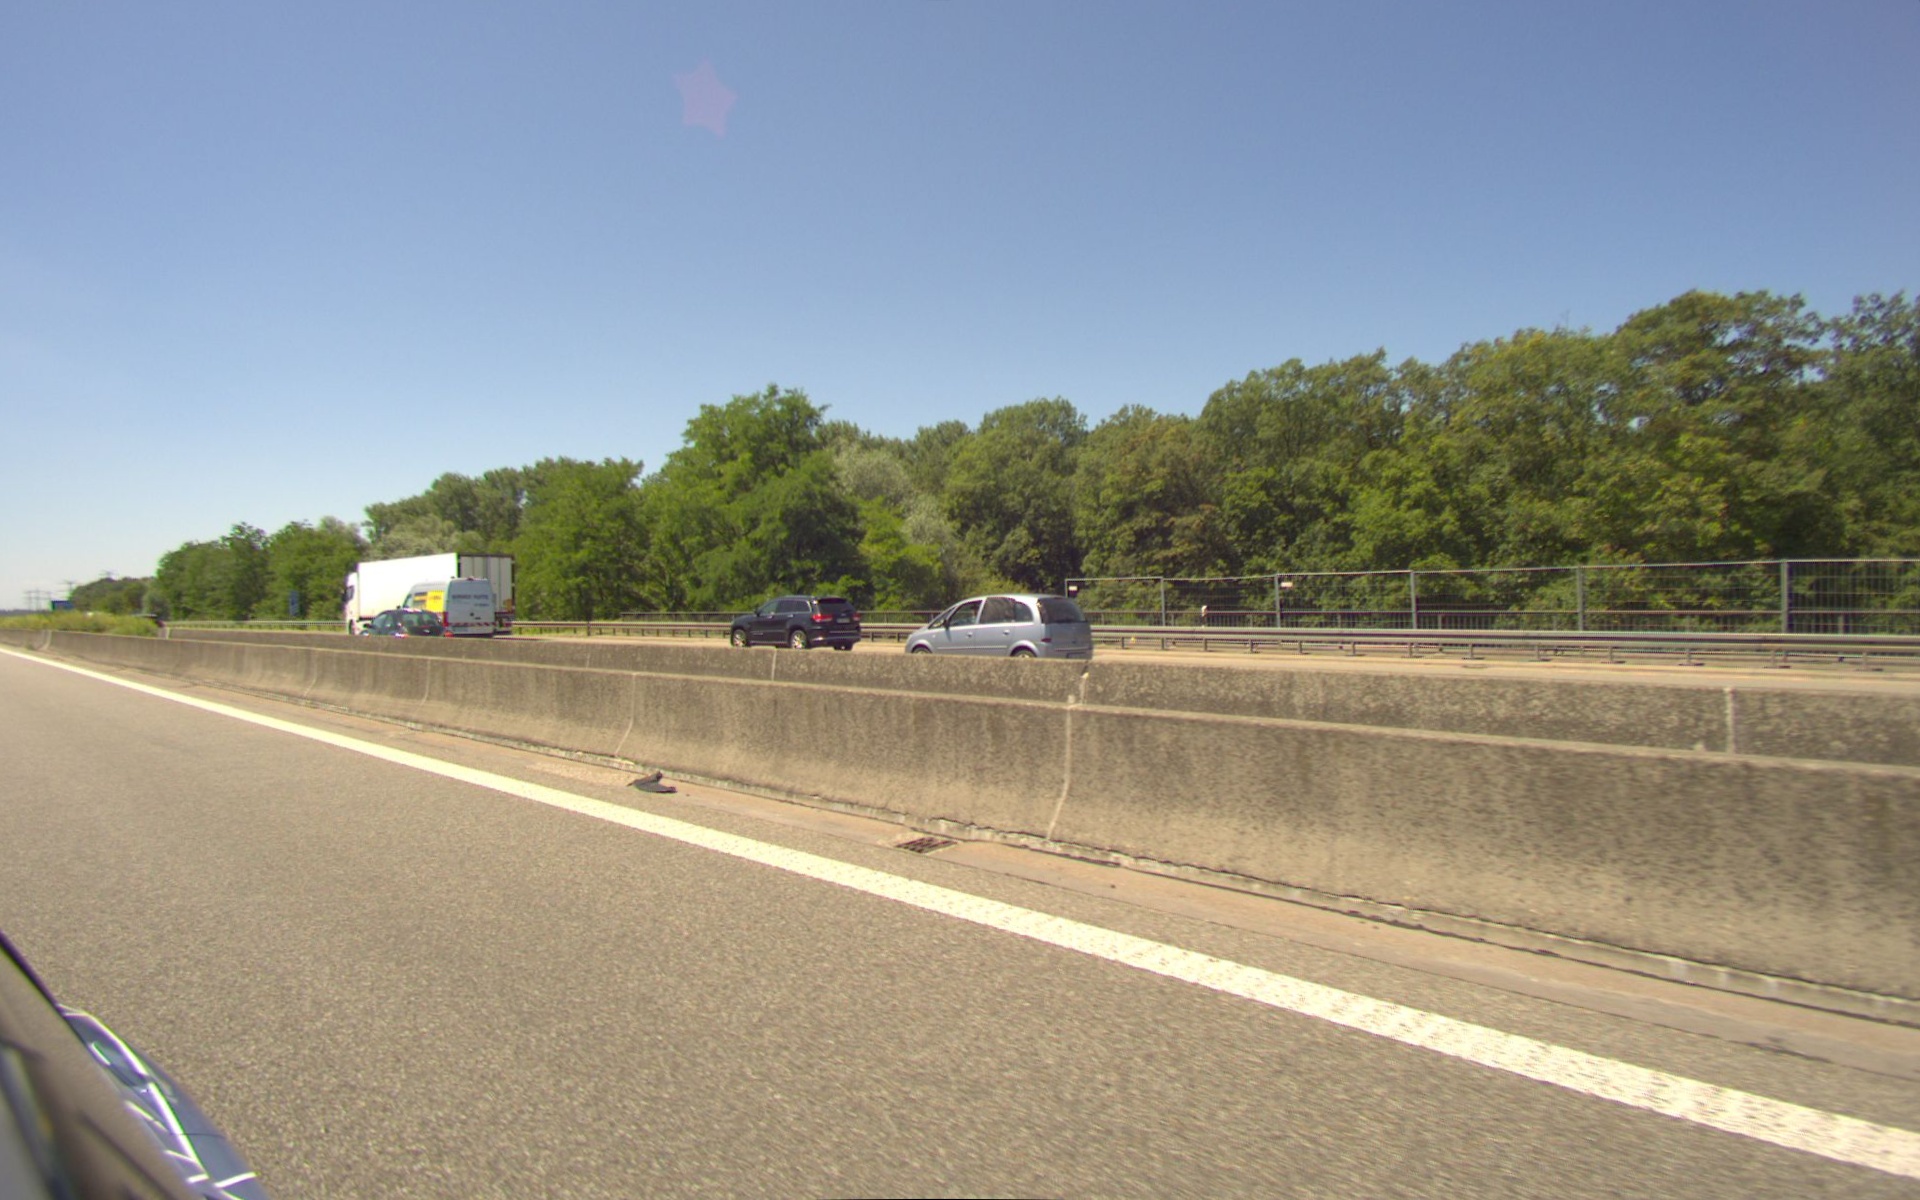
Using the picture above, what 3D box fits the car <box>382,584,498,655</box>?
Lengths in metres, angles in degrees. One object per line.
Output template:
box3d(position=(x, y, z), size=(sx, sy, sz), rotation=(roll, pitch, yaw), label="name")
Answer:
box3d(position=(-20.329, 0.745, 39.428), size=(6.127, 2.588, 1.972), rotation=(-1, -1, 42), label="car")

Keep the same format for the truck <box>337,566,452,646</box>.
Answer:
box3d(position=(-30.648, 0.378, 54.650), size=(8.287, 4.007, 3.016), rotation=(-2, -1, 43), label="truck")

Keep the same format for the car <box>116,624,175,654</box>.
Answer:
box3d(position=(-49.635, 2.337, 61.624), size=(5.013, 1.640, 1.973), rotation=(-1, 0, 41), label="car")

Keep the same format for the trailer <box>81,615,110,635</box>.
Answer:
box3d(position=(-92.718, 2.652, 108.496), size=(2.369, 2.041, 2.080), rotation=(-2, -1, 43), label="trailer")

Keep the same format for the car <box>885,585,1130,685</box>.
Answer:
box3d(position=(0.832, 0.630, 19.695), size=(4.538, 1.725, 1.978), rotation=(-1, 0, 42), label="car")

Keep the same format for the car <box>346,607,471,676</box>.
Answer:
box3d(position=(-16.279, 1.172, 29.817), size=(3.998, 1.863, 1.973), rotation=(-1, 0, 41), label="car")

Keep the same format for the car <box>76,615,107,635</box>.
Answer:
box3d(position=(-95.079, 2.703, 110.720), size=(4.971, 2.098, 2.101), rotation=(-2, -1, 44), label="car")

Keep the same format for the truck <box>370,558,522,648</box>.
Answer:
box3d(position=(-25.545, 0.227, 49.928), size=(11.148, 4.007, 3.015), rotation=(-2, -1, 43), label="truck")

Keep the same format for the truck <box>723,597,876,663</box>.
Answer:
box3d(position=(-4.899, 0.853, 30.419), size=(4.740, 1.814, 1.973), rotation=(-1, 0, 41), label="truck")
